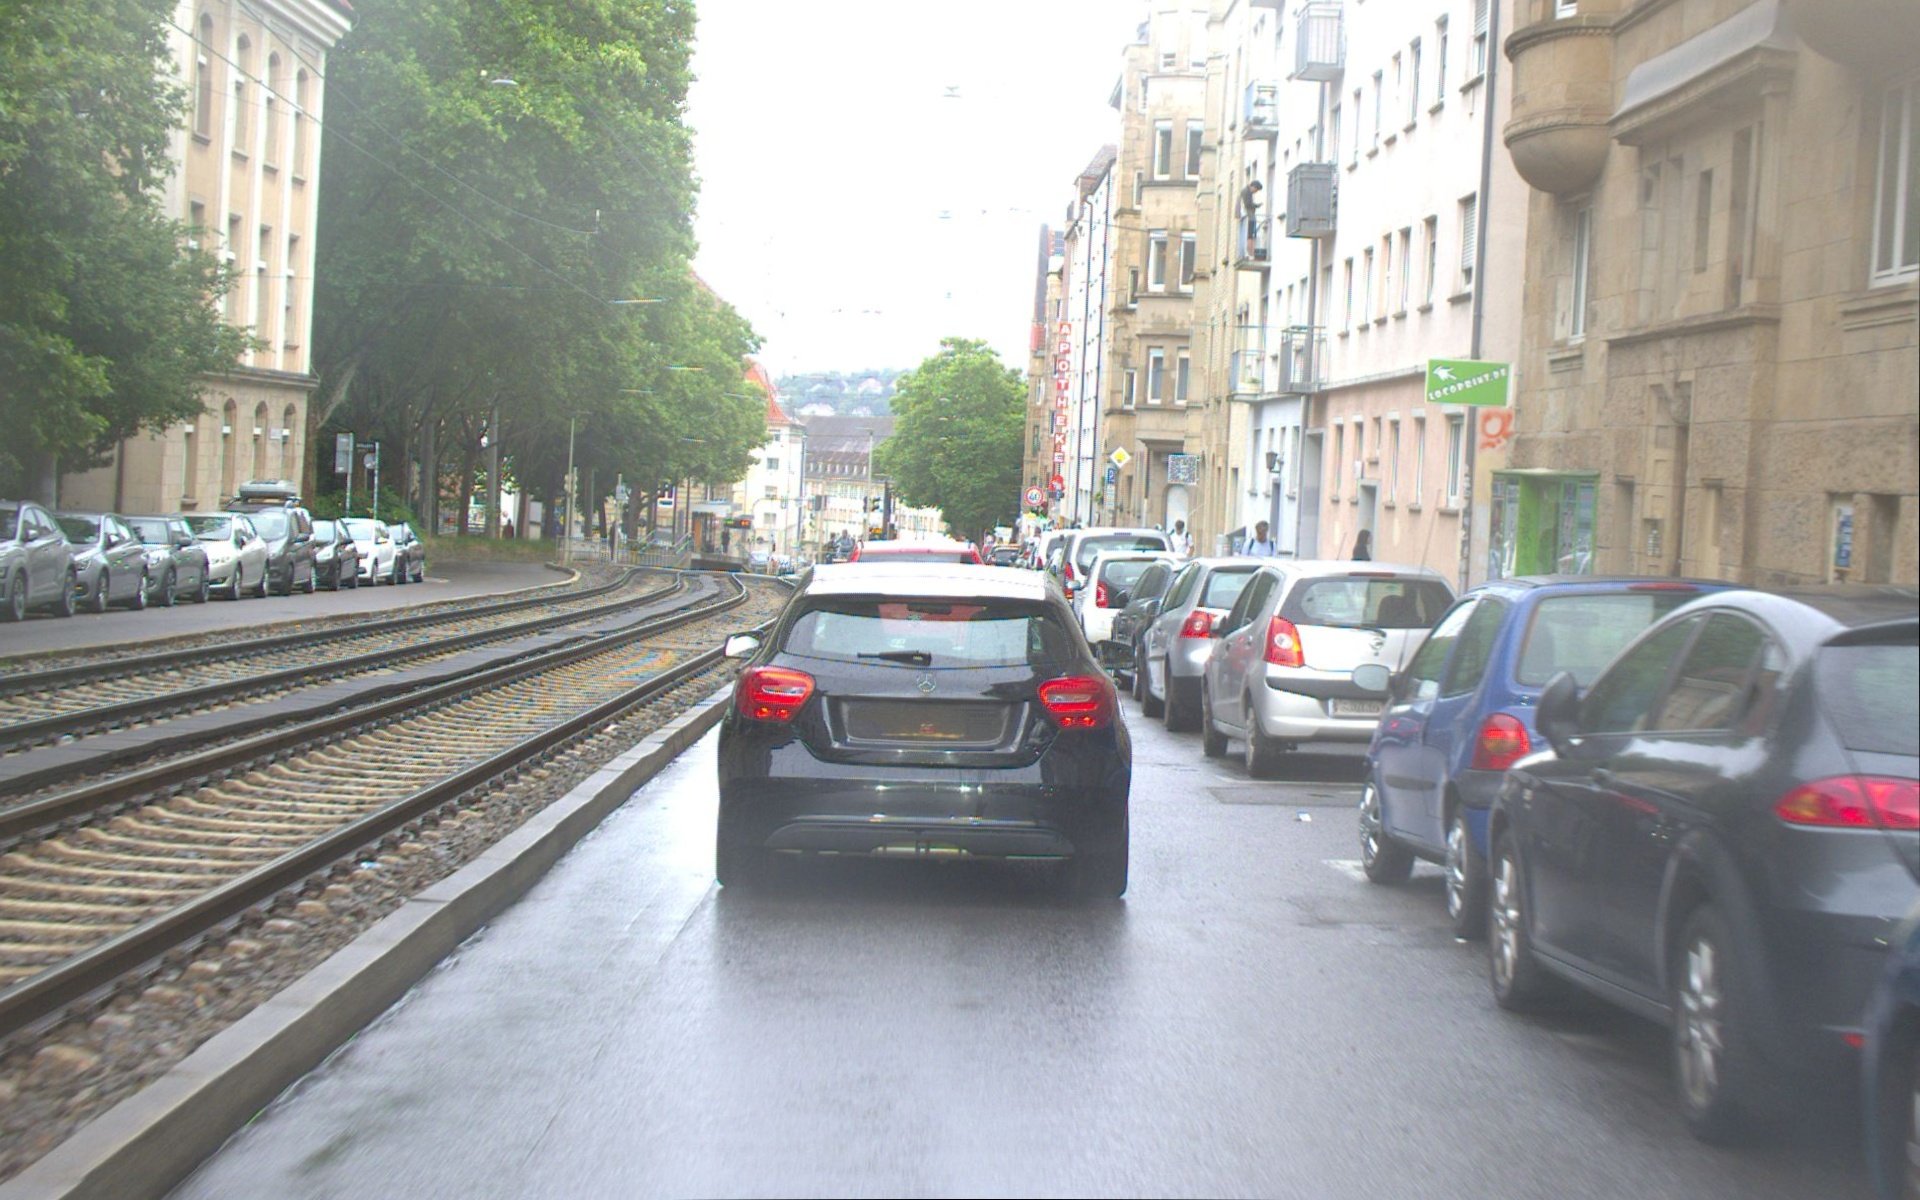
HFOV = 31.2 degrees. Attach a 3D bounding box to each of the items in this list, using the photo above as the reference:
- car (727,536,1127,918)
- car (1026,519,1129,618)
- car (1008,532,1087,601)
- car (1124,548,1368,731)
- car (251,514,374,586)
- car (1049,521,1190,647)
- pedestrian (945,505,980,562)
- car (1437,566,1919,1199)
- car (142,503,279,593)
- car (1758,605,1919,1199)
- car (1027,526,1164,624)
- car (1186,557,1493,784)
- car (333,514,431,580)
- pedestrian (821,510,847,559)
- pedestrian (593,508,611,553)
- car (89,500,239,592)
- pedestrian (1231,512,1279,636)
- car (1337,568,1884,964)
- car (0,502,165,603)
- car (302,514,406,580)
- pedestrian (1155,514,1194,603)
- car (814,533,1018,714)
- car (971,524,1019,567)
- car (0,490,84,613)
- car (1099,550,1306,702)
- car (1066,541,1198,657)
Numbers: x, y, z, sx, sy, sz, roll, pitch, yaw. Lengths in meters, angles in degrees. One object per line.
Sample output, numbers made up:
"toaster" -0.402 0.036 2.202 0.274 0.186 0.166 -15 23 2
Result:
"car" -0.157 0.484 15.765 1.580 1.499 3.575 2 1 -1
"car" 2.207 -0.621 65.212 1.828 1.744 4.467 2 1 1
"car" 2.033 -0.808 80.709 1.693 1.524 4.000 2 1 0
"car" 2.410 0.292 29.862 1.668 1.429 3.956 1 1 -1
"car" -13.065 -1.031 69.583 1.675 1.409 4.010 0 1 1
"car" 2.316 -0.275 50.819 1.791 1.759 4.212 1 1 -1
"pedestrian" 0.078 -2.351 121.084 1.137 1.991 1.173 0 1 -4
"car" 2.665 0.675 10.153 1.787 1.457 4.084 2 1 -2
"car" -12.953 -0.906 59.628 1.539 1.500 4.155 0 1 -1
"car" 2.625 0.773 5.319 1.707 1.393 4.019 2 1 -2
"car" 2.144 -0.439 55.722 1.871 1.450 4.903 2 1 -1
"car" 2.612 0.440 24.394 1.590 1.429 3.684 1 1 -2
"car" -13.213 -1.233 78.721 1.614 1.424 3.852 1 2 -1
"pedestrian" -4.249 -2.198 115.813 0.806 1.628 0.892 0 1 0
"pedestrian" -14.116 -2.726 135.610 0.534 1.748 0.607 4 1 0
"car" -12.572 -0.863 54.479 1.539 1.409 3.953 0 1 -1
"pedestrian" 4.214 -0.371 49.111 0.607 1.757 0.688 0 1 -1
"car" 2.640 0.612 14.674 1.543 1.410 3.447 2 1 -2
"car" -12.845 -0.703 49.844 1.754 1.409 4.154 0 1 -1
"car" -13.061 -1.153 74.273 1.500 1.386 3.987 0 1 1
"pedestrian" 4.449 -0.867 71.339 0.746 1.827 1.039 0 1 1
"car" -0.406 0.174 33.004 1.785 1.575 4.000 2 1 0
"car" 1.336 -2.108 132.885 1.827 1.612 3.864 0 1 0
"car" -12.817 -0.649 44.722 1.754 1.531 4.543 0 1 -1
"car" 2.448 0.224 35.609 1.669 1.405 4.312 1 1 -2
"car" 2.292 -0.050 46.456 1.570 1.457 3.600 1 1 0
